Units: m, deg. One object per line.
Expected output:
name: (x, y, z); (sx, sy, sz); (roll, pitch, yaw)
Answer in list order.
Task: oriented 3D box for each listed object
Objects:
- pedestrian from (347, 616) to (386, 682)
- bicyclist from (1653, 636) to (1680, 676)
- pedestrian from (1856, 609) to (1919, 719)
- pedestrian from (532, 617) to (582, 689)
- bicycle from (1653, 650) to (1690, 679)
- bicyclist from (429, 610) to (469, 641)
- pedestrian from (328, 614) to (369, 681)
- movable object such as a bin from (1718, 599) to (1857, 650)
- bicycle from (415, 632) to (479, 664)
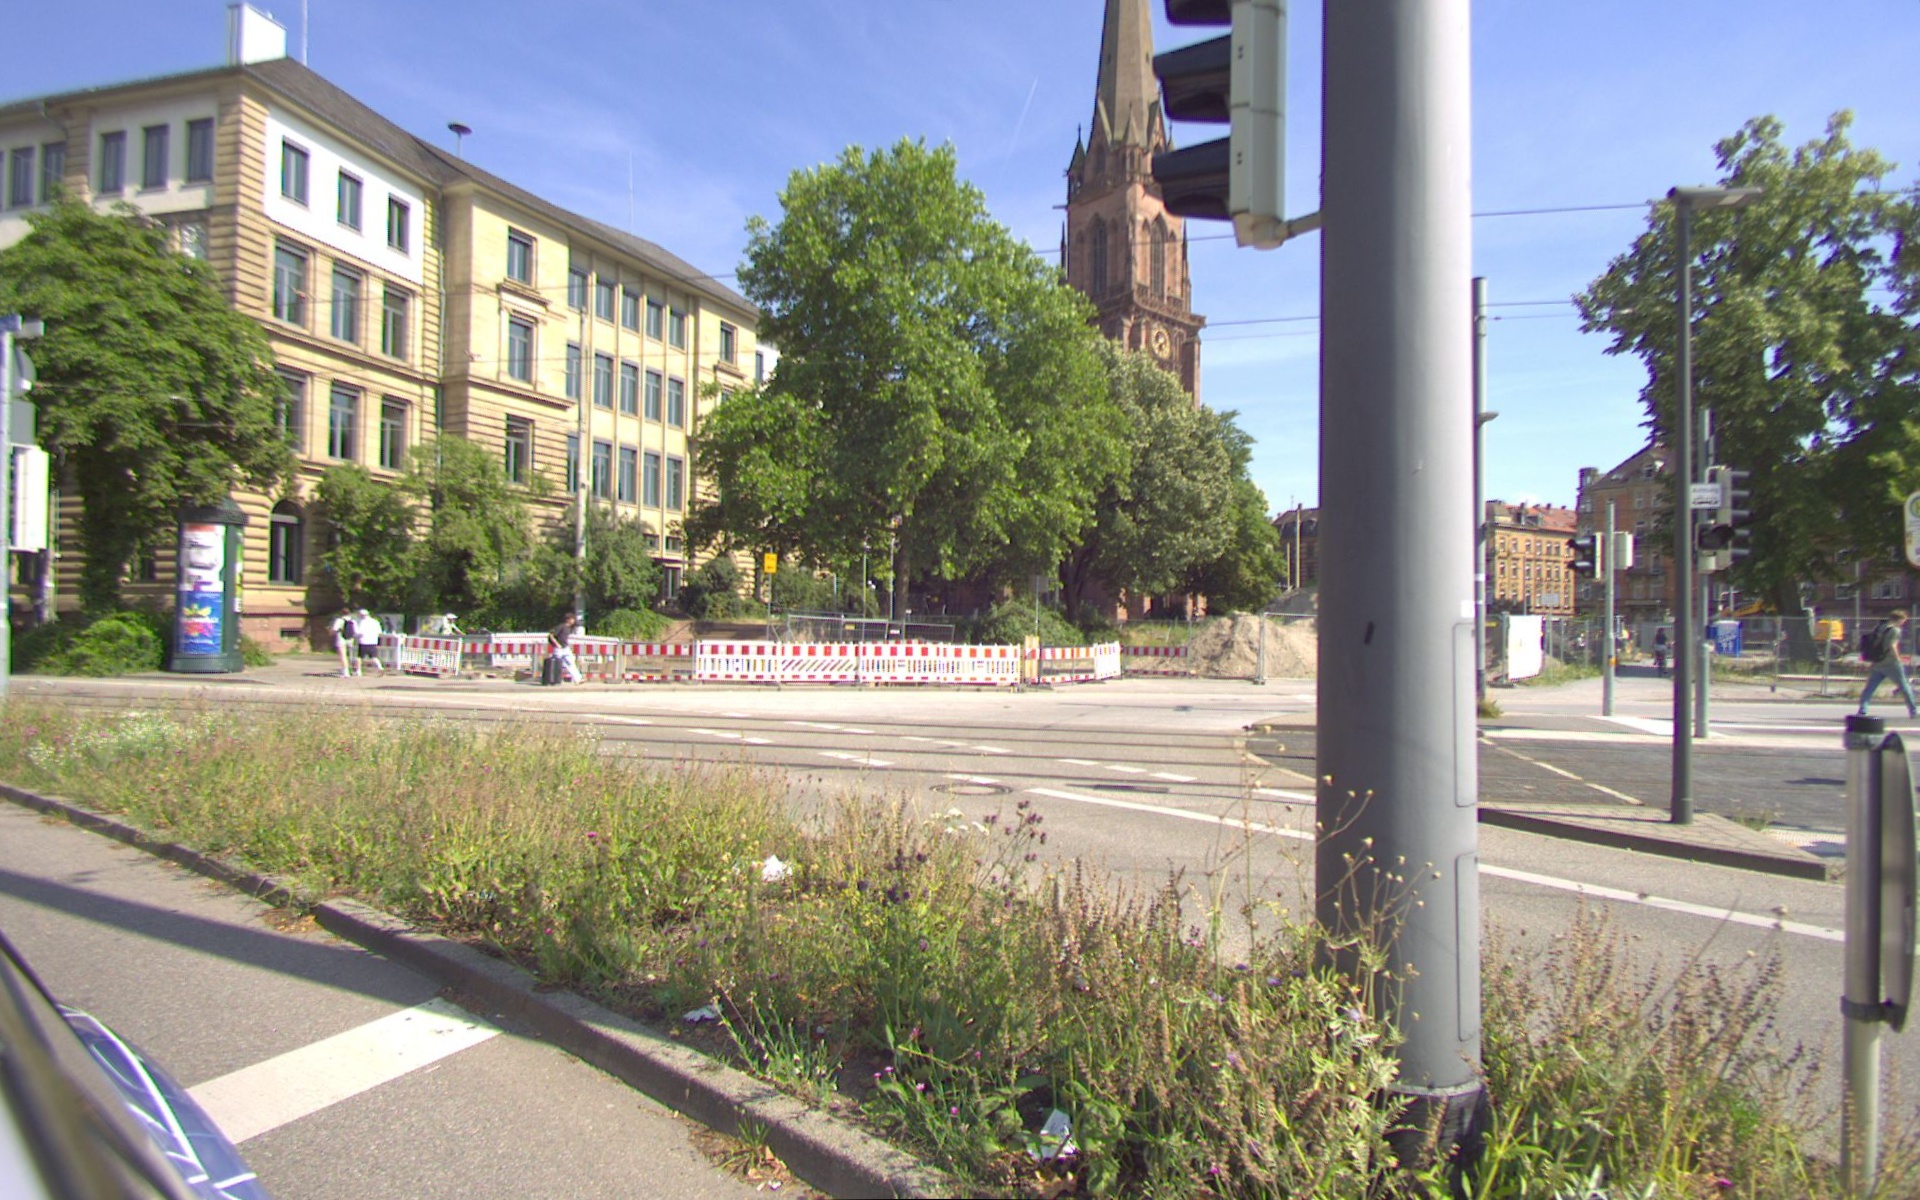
pedestrian: (-16.150, 1.337, 27.545); (0.733, 1.763, 0.586); (1, -2, -9)
bicyclist: (25.148, 1.971, 36.012); (0.617, 1.370, 1.162); (0, -2, 27)
pedestrian: (15.175, 1.019, 16.288); (0.924, 1.726, 0.557); (0, -2, 2)
pedestrian: (-9.602, 1.255, 24.109); (0.924, 1.668, 0.846); (2, -2, -33)
bicycle: (25.024, 2.252, 35.615); (0.759, 0.930, 2.050); (0, -2, 27)
bicyclist: (-15.895, 0.785, 31.481); (0.860, 0.934, 0.681); (0, -2, 10)
pedestrian: (-16.167, 1.248, 26.764); (0.733, 1.763, 0.585); (1, -2, -7)
movable object such as a bin: (52.158, 1.561, 63.903); (6.555, 3.032, 2.546); (-1, -2, 44)
bicycle: (-15.926, 1.486, 31.429); (1.647, 0.954, 0.699); (0, -2, 10)
